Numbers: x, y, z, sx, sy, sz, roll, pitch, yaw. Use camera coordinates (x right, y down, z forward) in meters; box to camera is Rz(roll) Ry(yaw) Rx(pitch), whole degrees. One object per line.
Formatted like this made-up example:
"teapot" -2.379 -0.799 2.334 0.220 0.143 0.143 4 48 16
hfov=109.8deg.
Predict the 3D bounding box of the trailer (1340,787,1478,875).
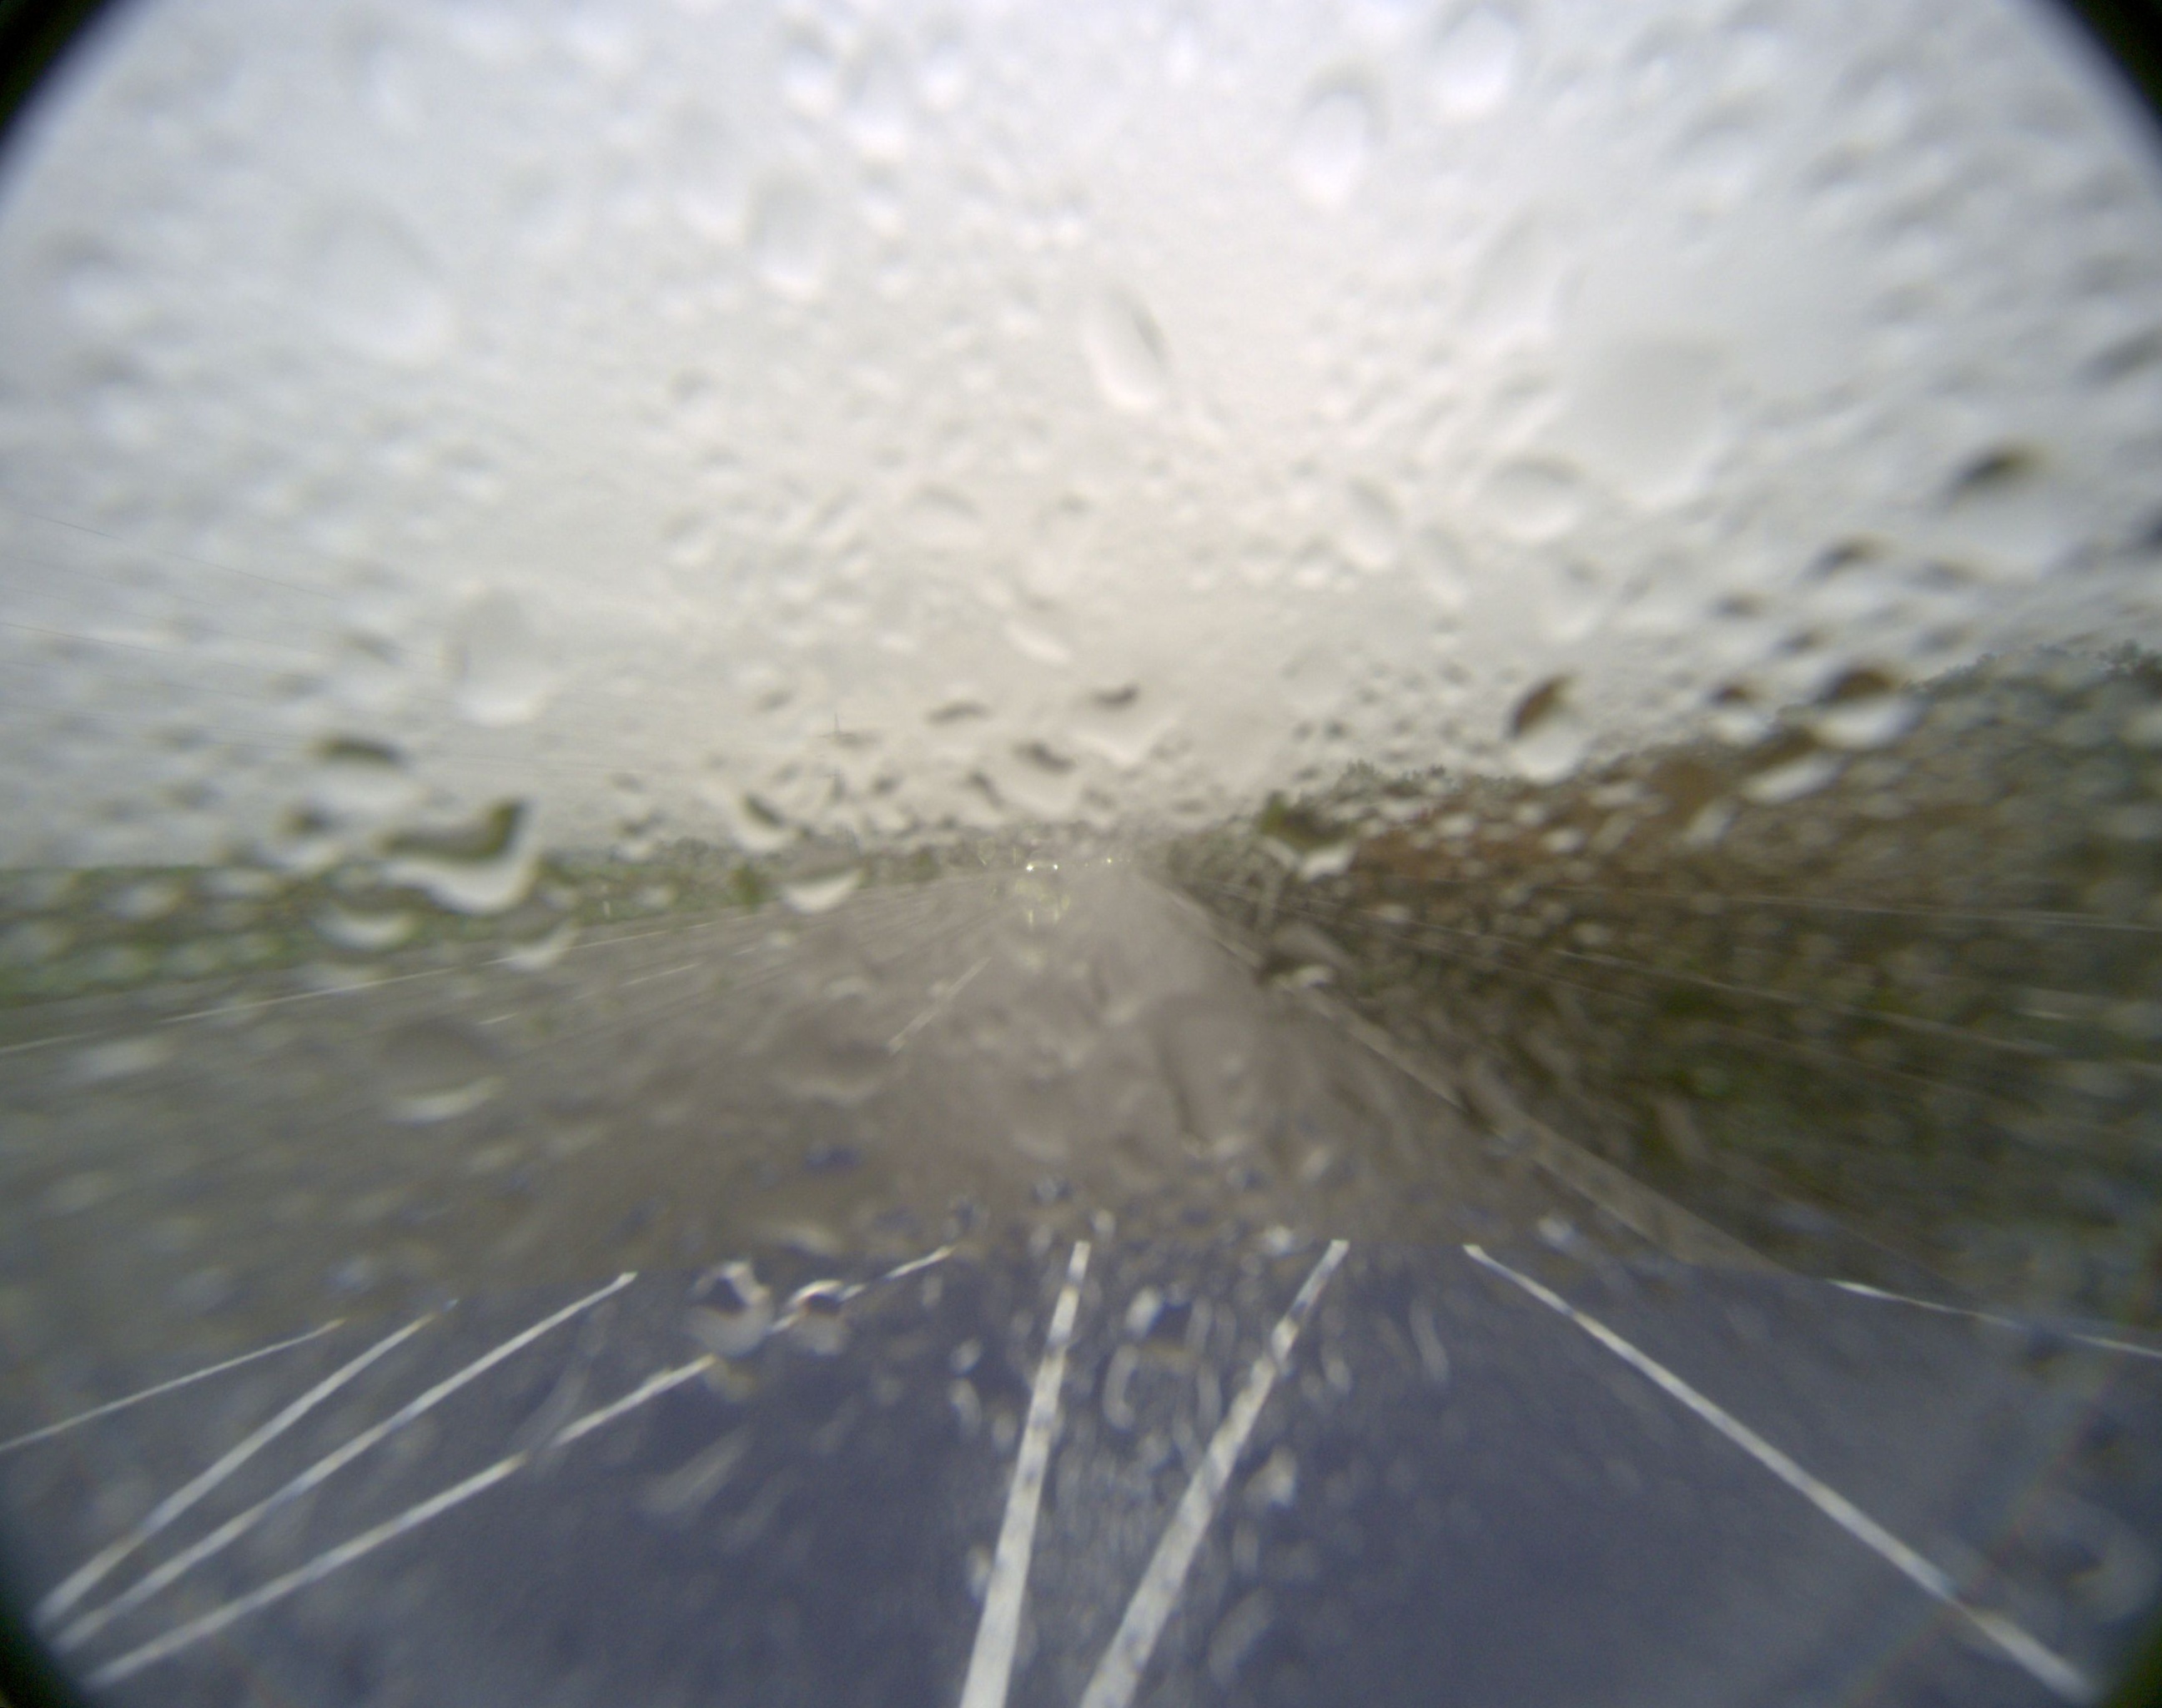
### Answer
"trailer" 18.111 -1.143 43.342 2.524 4.196 12.943 -2 0 1

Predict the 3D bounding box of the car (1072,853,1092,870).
"car" 0.137 0.954 97.535 1.997 2.002 4.001 -2 1 6

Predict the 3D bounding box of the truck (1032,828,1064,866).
"truck" -4.200 -0.917 99.346 3.135 4.642 11.404 -2 0 2

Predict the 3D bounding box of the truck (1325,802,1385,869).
"truck" 18.298 -1.194 50.960 2.534 4.203 4.077 -2 1 1

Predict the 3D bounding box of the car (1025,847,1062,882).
"car" -2.295 0.615 47.535 1.998 2.002 4.000 -3 0 1
